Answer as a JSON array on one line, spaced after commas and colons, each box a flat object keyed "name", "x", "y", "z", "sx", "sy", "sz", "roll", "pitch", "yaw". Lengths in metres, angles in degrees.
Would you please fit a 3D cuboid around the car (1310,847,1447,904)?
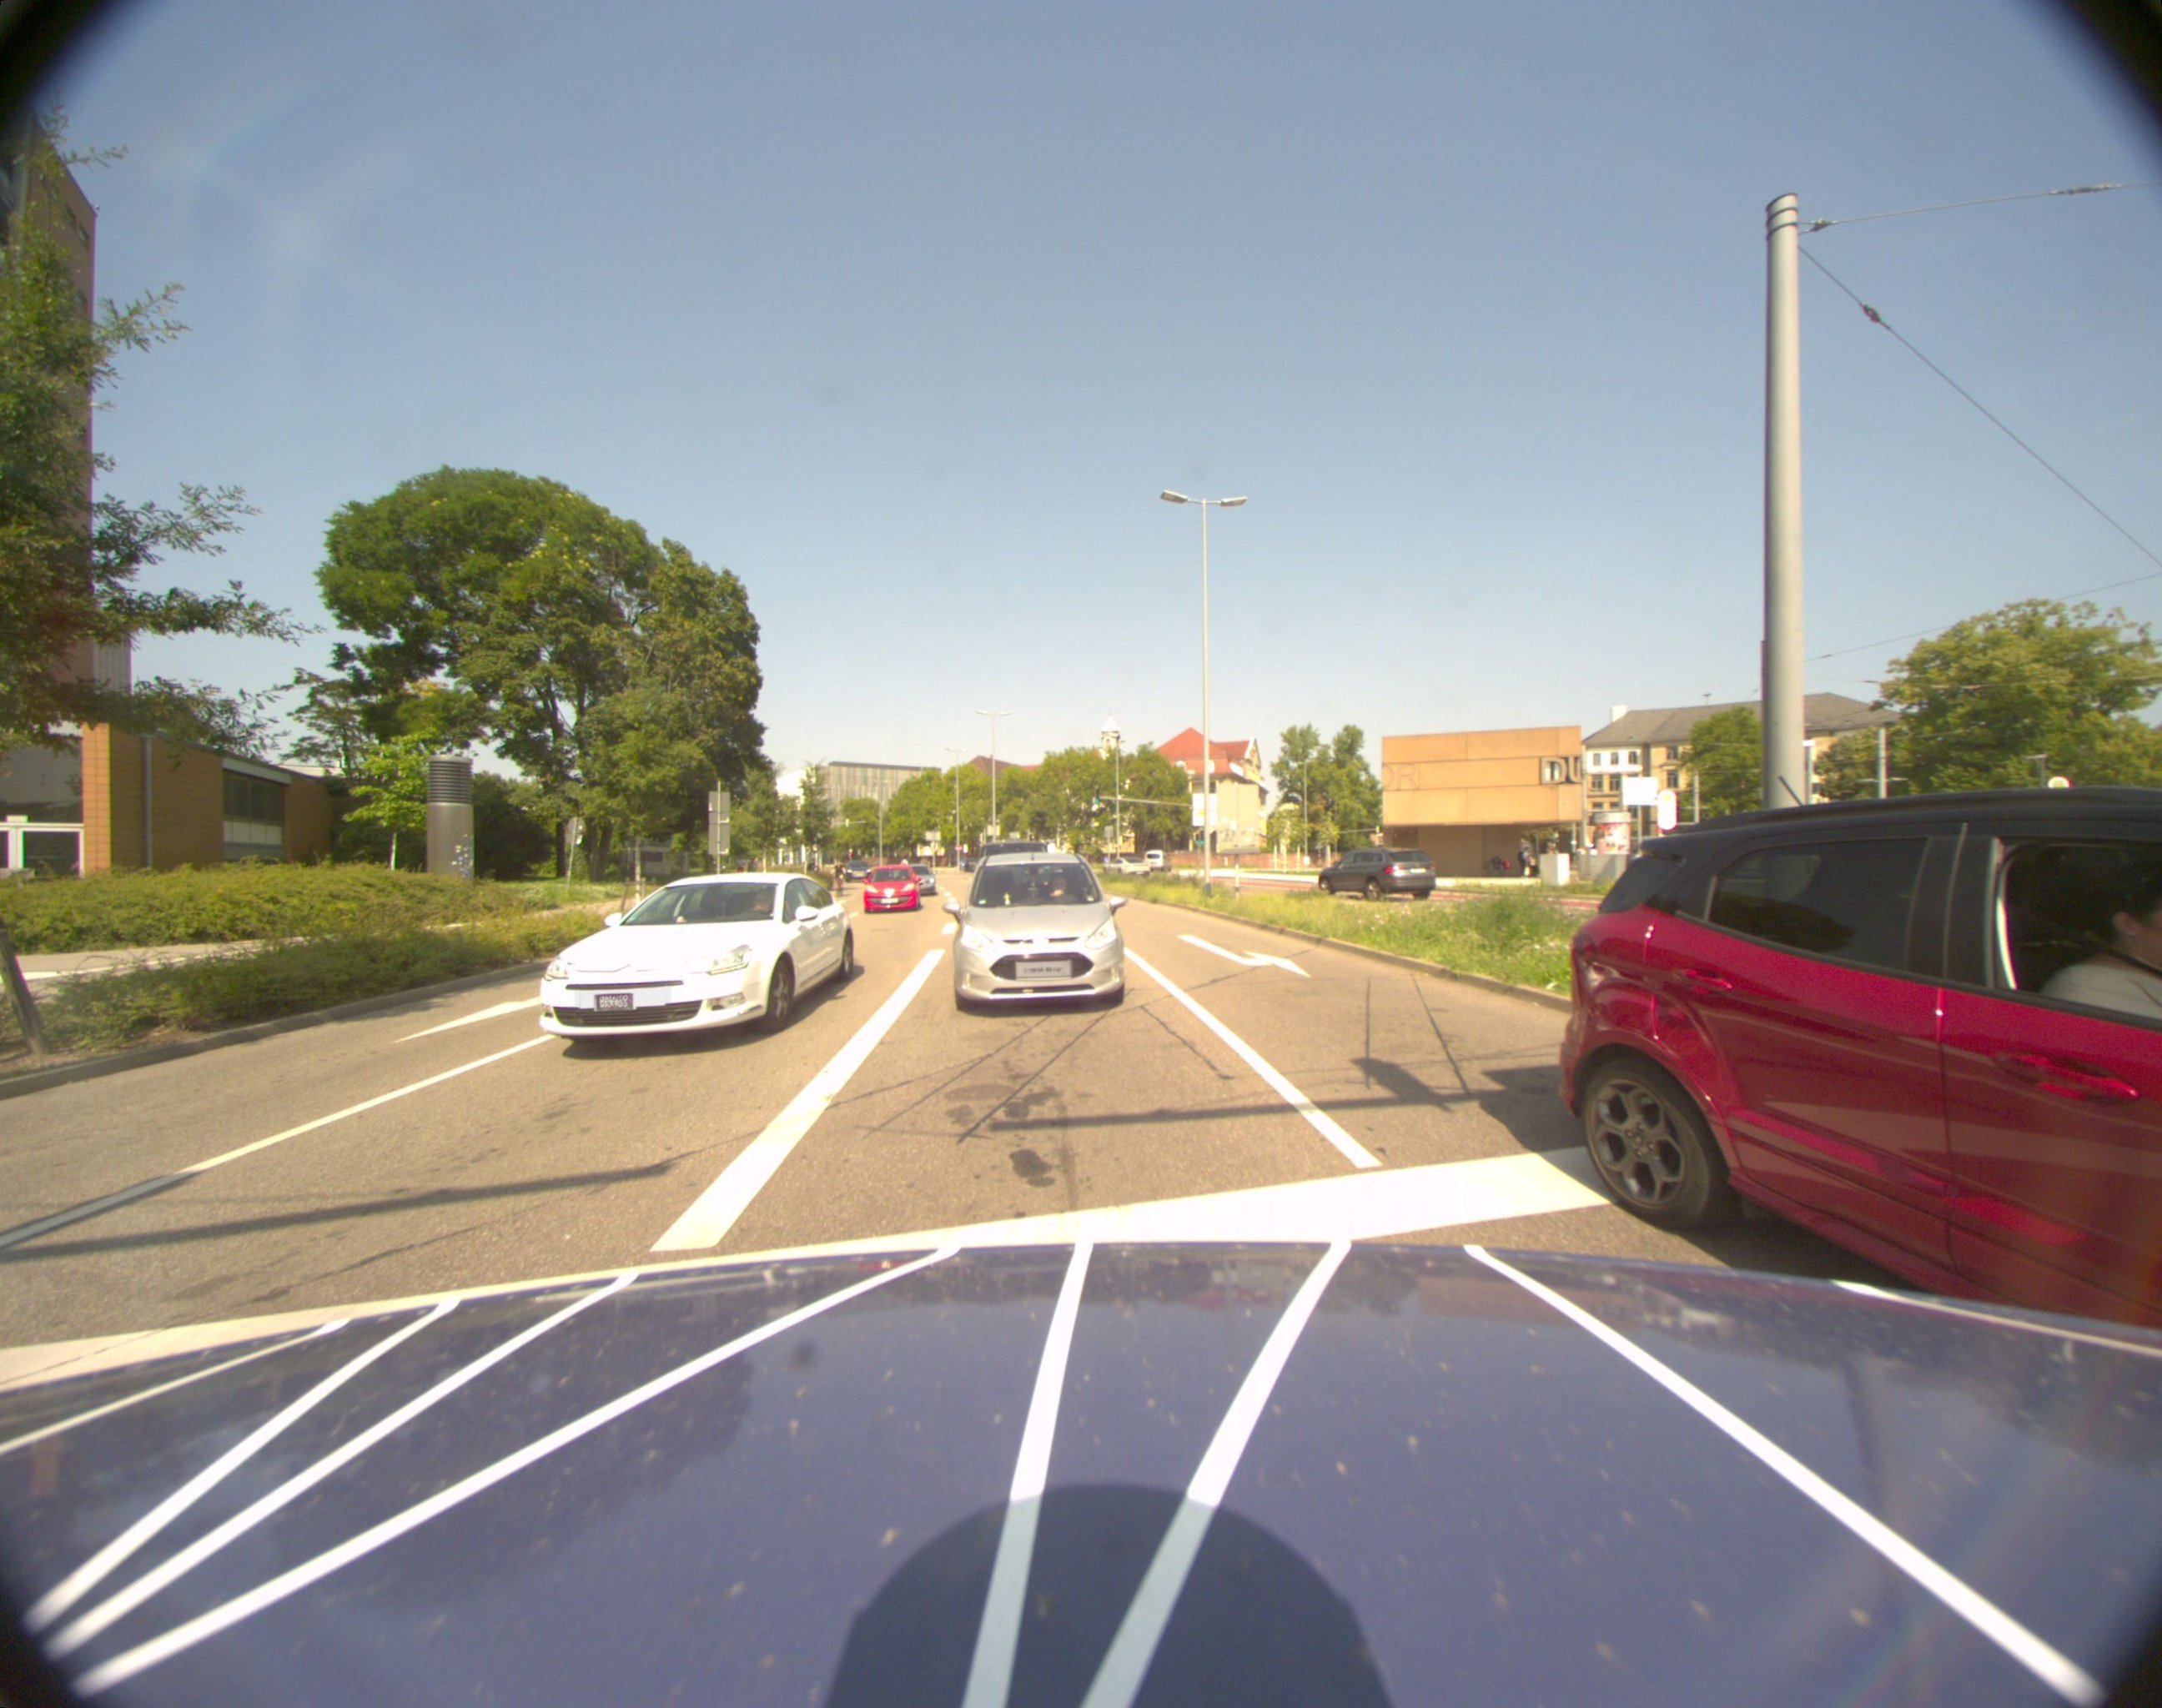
[{"name": "car", "x": 9.403, "y": 0.640, "z": 24.497, "sx": 1.903, "sy": 1.643, "sz": 4.652, "roll": -1, "pitch": 0, "yaw": -12}]

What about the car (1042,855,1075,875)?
[{"name": "car", "x": -2.011, "y": 0.921, "z": 66.023, "sx": 1.738, "sy": 1.628, "sz": 3.665, "roll": -1, "pitch": 0, "yaw": -22}]

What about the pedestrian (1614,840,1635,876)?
[{"name": "pedestrian", "x": 25.047, "y": 0.171, "z": 35.017, "sx": 0.572, "sy": 1.636, "sz": 0.511, "roll": -3, "pitch": 1, "yaw": -19}]

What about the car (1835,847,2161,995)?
[{"name": "car", "x": 11.751, "y": 0.688, "z": 9.004, "sx": 1.680, "sy": 1.511, "sz": 3.702, "roll": -1, "pitch": 0, "yaw": -10}]

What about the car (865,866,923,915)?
[{"name": "car", "x": -5.962, "y": 1.110, "z": 24.492, "sx": 1.517, "sy": 1.400, "sz": 3.356, "roll": -1, "pitch": 0, "yaw": -9}]

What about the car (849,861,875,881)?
[{"name": "car", "x": -16.414, "y": 1.215, "z": 57.010, "sx": 1.618, "sy": 1.414, "sz": 3.602, "roll": -1, "pitch": 0, "yaw": -13}]

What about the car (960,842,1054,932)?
[{"name": "car", "x": -1.675, "y": 0.716, "z": 18.724, "sx": 1.899, "sy": 1.919, "sz": 4.885, "roll": -1, "pitch": 0, "yaw": -1}]

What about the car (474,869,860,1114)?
[{"name": "car", "x": -3.706, "y": 1.048, "z": 7.910, "sx": 1.771, "sy": 1.609, "sz": 4.600, "roll": -2, "pitch": 1, "yaw": -5}]

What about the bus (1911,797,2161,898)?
[{"name": "bus", "x": 38.848, "y": -0.287, "z": 30.299, "sx": 2.671, "sy": 3.311, "sz": 12.778, "roll": 0, "pitch": 0, "yaw": 23}]

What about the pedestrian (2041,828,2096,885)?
[{"name": "pedestrian", "x": 31.485, "y": 0.084, "z": 24.238, "sx": 0.960, "sy": 1.769, "sz": 0.784, "roll": 1, "pitch": 0, "yaw": -19}]

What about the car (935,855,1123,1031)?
[{"name": "car", "x": -0.481, "y": 0.814, "z": 9.097, "sx": 1.692, "sy": 1.585, "sz": 4.361, "roll": -1, "pitch": 0, "yaw": 0}]

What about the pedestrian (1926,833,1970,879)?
[{"name": "pedestrian", "x": 33.667, "y": 0.083, "z": 29.508, "sx": 0.960, "sy": 1.769, "sz": 0.784, "roll": 1, "pitch": 0, "yaw": -19}]

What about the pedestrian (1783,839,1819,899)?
[{"name": "pedestrian", "x": 22.278, "y": 0.461, "z": 23.513, "sx": 0.560, "sy": 1.805, "sz": 0.560, "roll": -1, "pitch": 0, "yaw": -3}]

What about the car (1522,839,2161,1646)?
[{"name": "car", "x": 3.036, "y": 0.773, "z": 1.539, "sx": 1.767, "sy": 1.608, "sz": 4.081, "roll": 0, "pitch": 0, "yaw": -3}]

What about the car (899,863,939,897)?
[{"name": "car", "x": -7.260, "y": 1.148, "z": 34.265, "sx": 1.517, "sy": 1.331, "sz": 3.505, "roll": -2, "pitch": 1, "yaw": -9}]

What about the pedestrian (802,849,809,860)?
[{"name": "pedestrian", "x": -45.403, "y": 0.029, "z": 125.107, "sx": 0.969, "sy": 1.775, "sz": 1.115, "roll": -1, "pitch": 0, "yaw": -22}]

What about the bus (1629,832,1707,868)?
[{"name": "bus", "x": 55.474, "y": -0.484, "z": 72.205, "sx": 2.536, "sy": 3.014, "sz": 12.453, "roll": -2, "pitch": 1, "yaw": 22}]

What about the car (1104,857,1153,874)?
[{"name": "car", "x": 3.088, "y": 0.748, "z": 50.455, "sx": 1.850, "sy": 1.020, "sz": 4.326, "roll": -1, "pitch": 0, "yaw": -16}]

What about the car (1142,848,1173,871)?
[{"name": "car", "x": 6.818, "y": 0.436, "z": 67.094, "sx": 1.996, "sy": 1.958, "sz": 4.005, "roll": -1, "pitch": 0, "yaw": 16}]
